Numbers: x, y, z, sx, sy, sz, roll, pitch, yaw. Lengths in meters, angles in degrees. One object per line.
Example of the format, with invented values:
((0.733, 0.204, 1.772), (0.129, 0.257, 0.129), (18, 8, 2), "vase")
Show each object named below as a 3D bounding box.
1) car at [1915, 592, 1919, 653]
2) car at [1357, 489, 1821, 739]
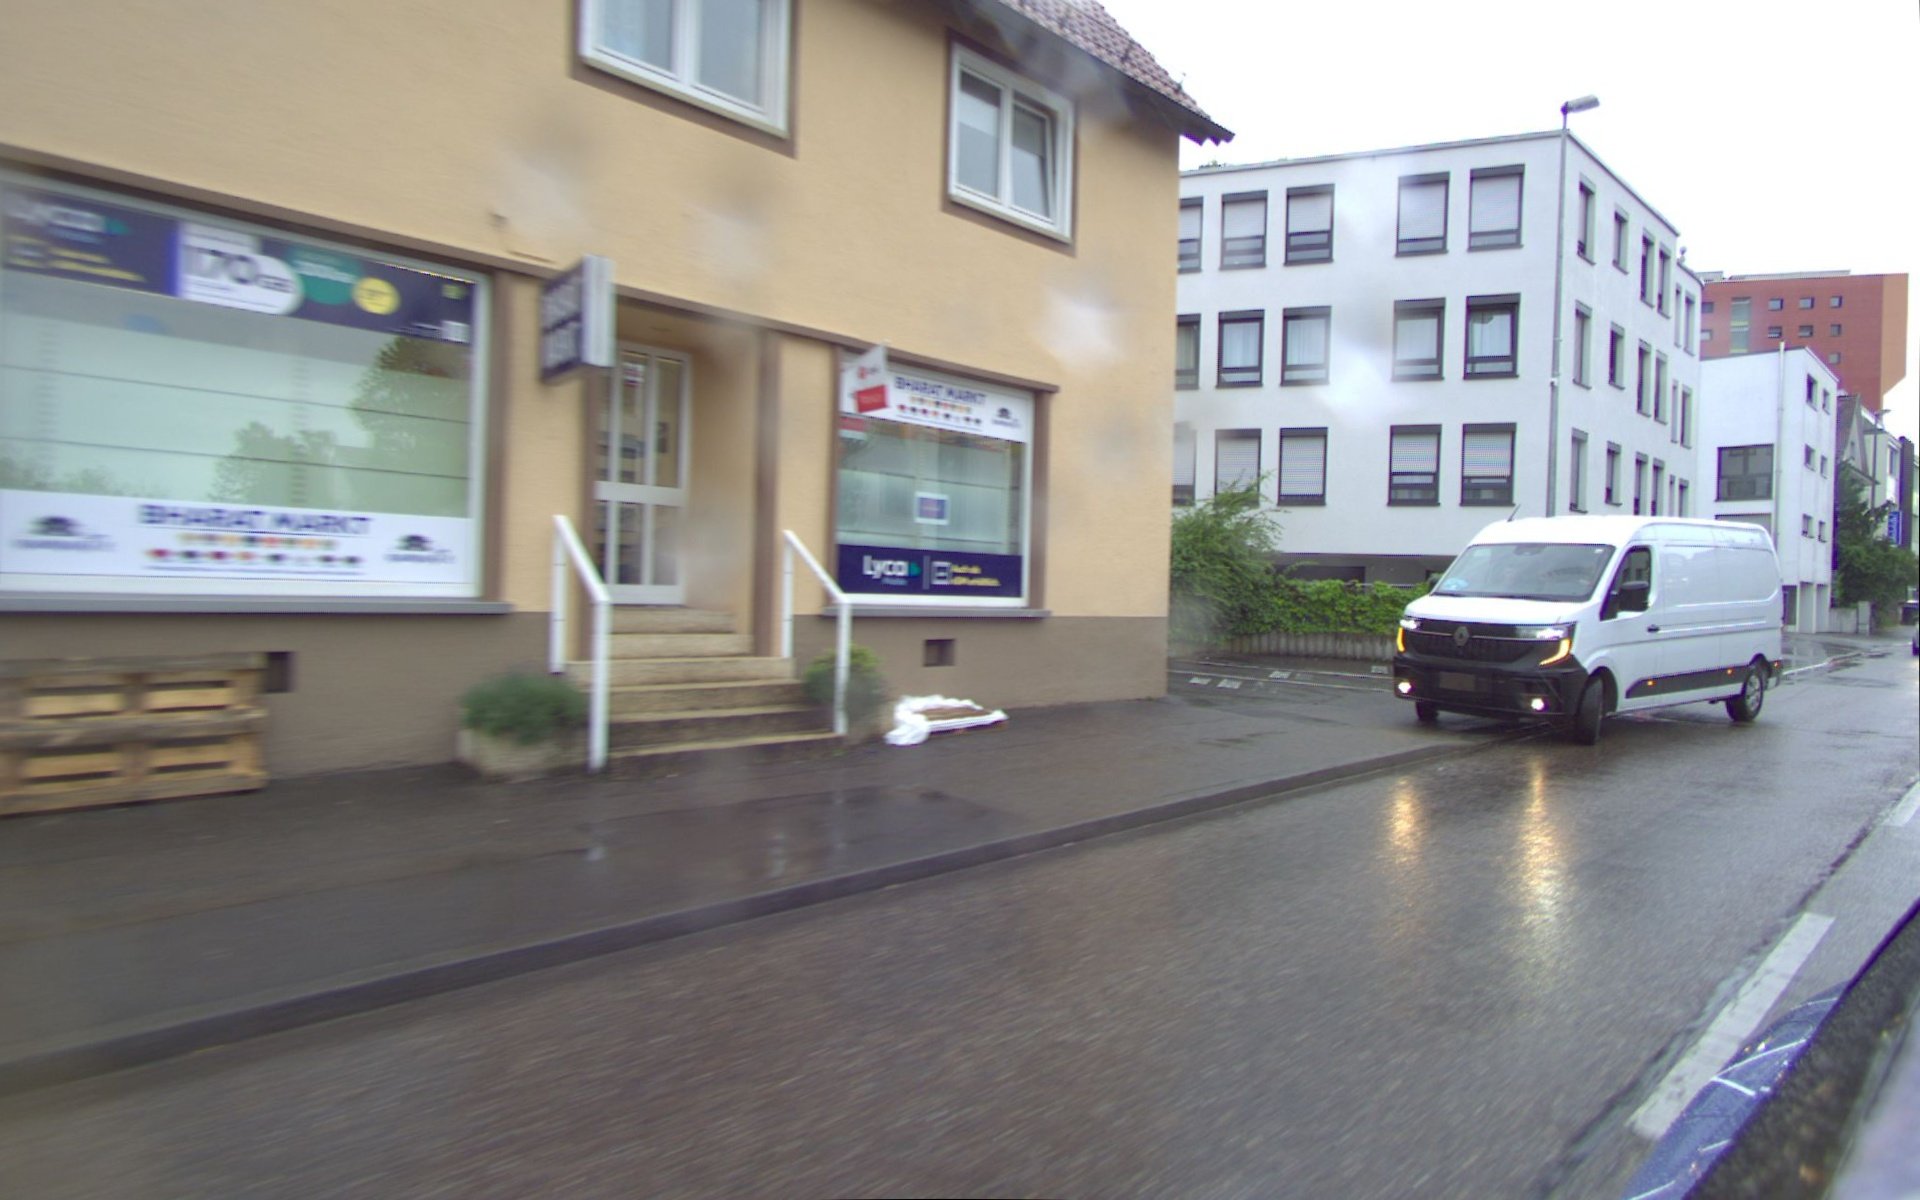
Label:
((29.659, 0.612, 29.820), (4.290, 1.641, 2.013), (-3, 3, -44), "car")
((7.936, 0.026, 12.473), (6.497, 2.411, 2.300), (-1, 3, -33), "car")
